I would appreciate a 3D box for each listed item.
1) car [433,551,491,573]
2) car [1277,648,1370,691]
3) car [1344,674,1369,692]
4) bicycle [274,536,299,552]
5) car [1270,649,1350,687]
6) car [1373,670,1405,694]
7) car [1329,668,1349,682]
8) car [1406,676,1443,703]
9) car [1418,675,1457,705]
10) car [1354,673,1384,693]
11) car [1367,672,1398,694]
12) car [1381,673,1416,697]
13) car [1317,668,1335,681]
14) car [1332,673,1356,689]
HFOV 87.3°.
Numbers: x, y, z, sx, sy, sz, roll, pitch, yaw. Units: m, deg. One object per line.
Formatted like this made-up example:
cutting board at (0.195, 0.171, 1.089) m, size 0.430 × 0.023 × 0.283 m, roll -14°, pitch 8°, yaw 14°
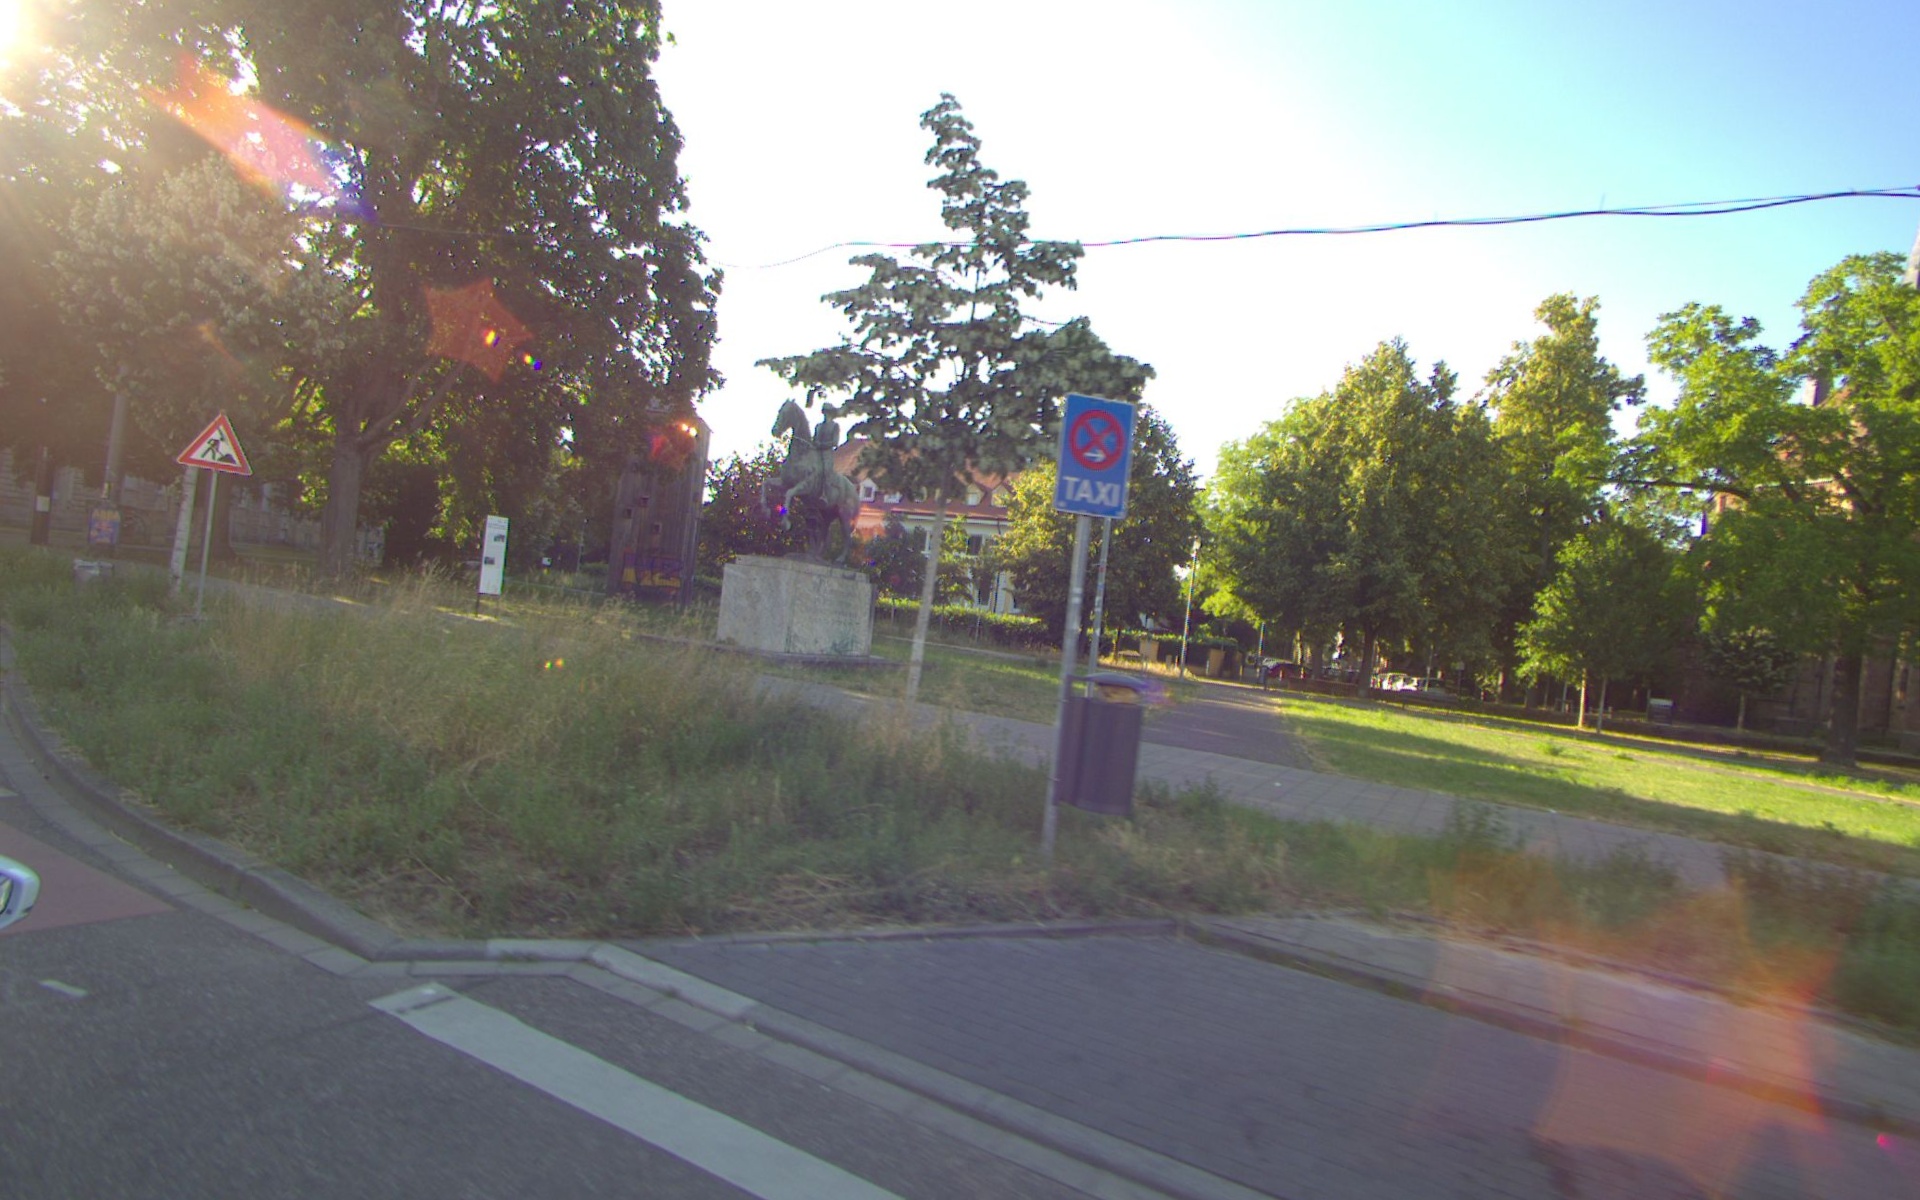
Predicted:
car at (-46.316, -3.493, 93.634) m, size 4.380 × 1.487 × 1.779 m, roll 6°, pitch -1°, yaw -10°
car at (19.967, 3.782, 55.258) m, size 4.553 × 1.739 × 1.999 m, roll 7°, pitch 0°, yaw 22°
car at (40.287, 8.453, 102.182) m, size 1.539 × 1.466 × 3.501 m, roll 6°, pitch -2°, yaw 34°
bicycle at (-57.902, -4.825, 86.478) m, size 0.840 × 1.114 × 1.981 m, roll 9°, pitch -1°, yaw -5°
car at (20.470, 3.947, 58.871) m, size 4.085 × 1.650 × 1.870 m, roll 7°, pitch 0°, yaw 27°
car at (32.700, 6.257, 76.656) m, size 1.539 × 1.466 × 3.501 m, roll 6°, pitch -2°, yaw 34°
car at (50.021, 9.891, 132.810) m, size 1.539 × 1.466 × 3.501 m, roll 6°, pitch -2°, yaw 34°
car at (31.079, 5.983, 67.210) m, size 1.602 × 1.528 × 4.150 m, roll 7°, pitch -1°, yaw 32°
car at (29.165, 5.488, 61.403) m, size 1.571 × 1.527 × 4.151 m, roll 7°, pitch -2°, yaw 32°
car at (35.442, 7.213, 87.156) m, size 1.539 × 1.466 × 3.501 m, roll 6°, pitch -2°, yaw 34°
car at (34.107, 6.711, 81.144) m, size 1.539 × 1.466 × 3.501 m, roll 6°, pitch -2°, yaw 34°
car at (31.429, 6.098, 72.083) m, size 1.539 × 1.466 × 3.501 m, roll 6°, pitch -2°, yaw 34°
car at (51.230, 10.416, 140.825) m, size 1.539 × 1.466 × 3.501 m, roll 6°, pitch -2°, yaw 34°
car at (41.305, 8.734, 108.192) m, size 1.539 × 1.466 × 3.501 m, roll 6°, pitch -2°, yaw 34°
